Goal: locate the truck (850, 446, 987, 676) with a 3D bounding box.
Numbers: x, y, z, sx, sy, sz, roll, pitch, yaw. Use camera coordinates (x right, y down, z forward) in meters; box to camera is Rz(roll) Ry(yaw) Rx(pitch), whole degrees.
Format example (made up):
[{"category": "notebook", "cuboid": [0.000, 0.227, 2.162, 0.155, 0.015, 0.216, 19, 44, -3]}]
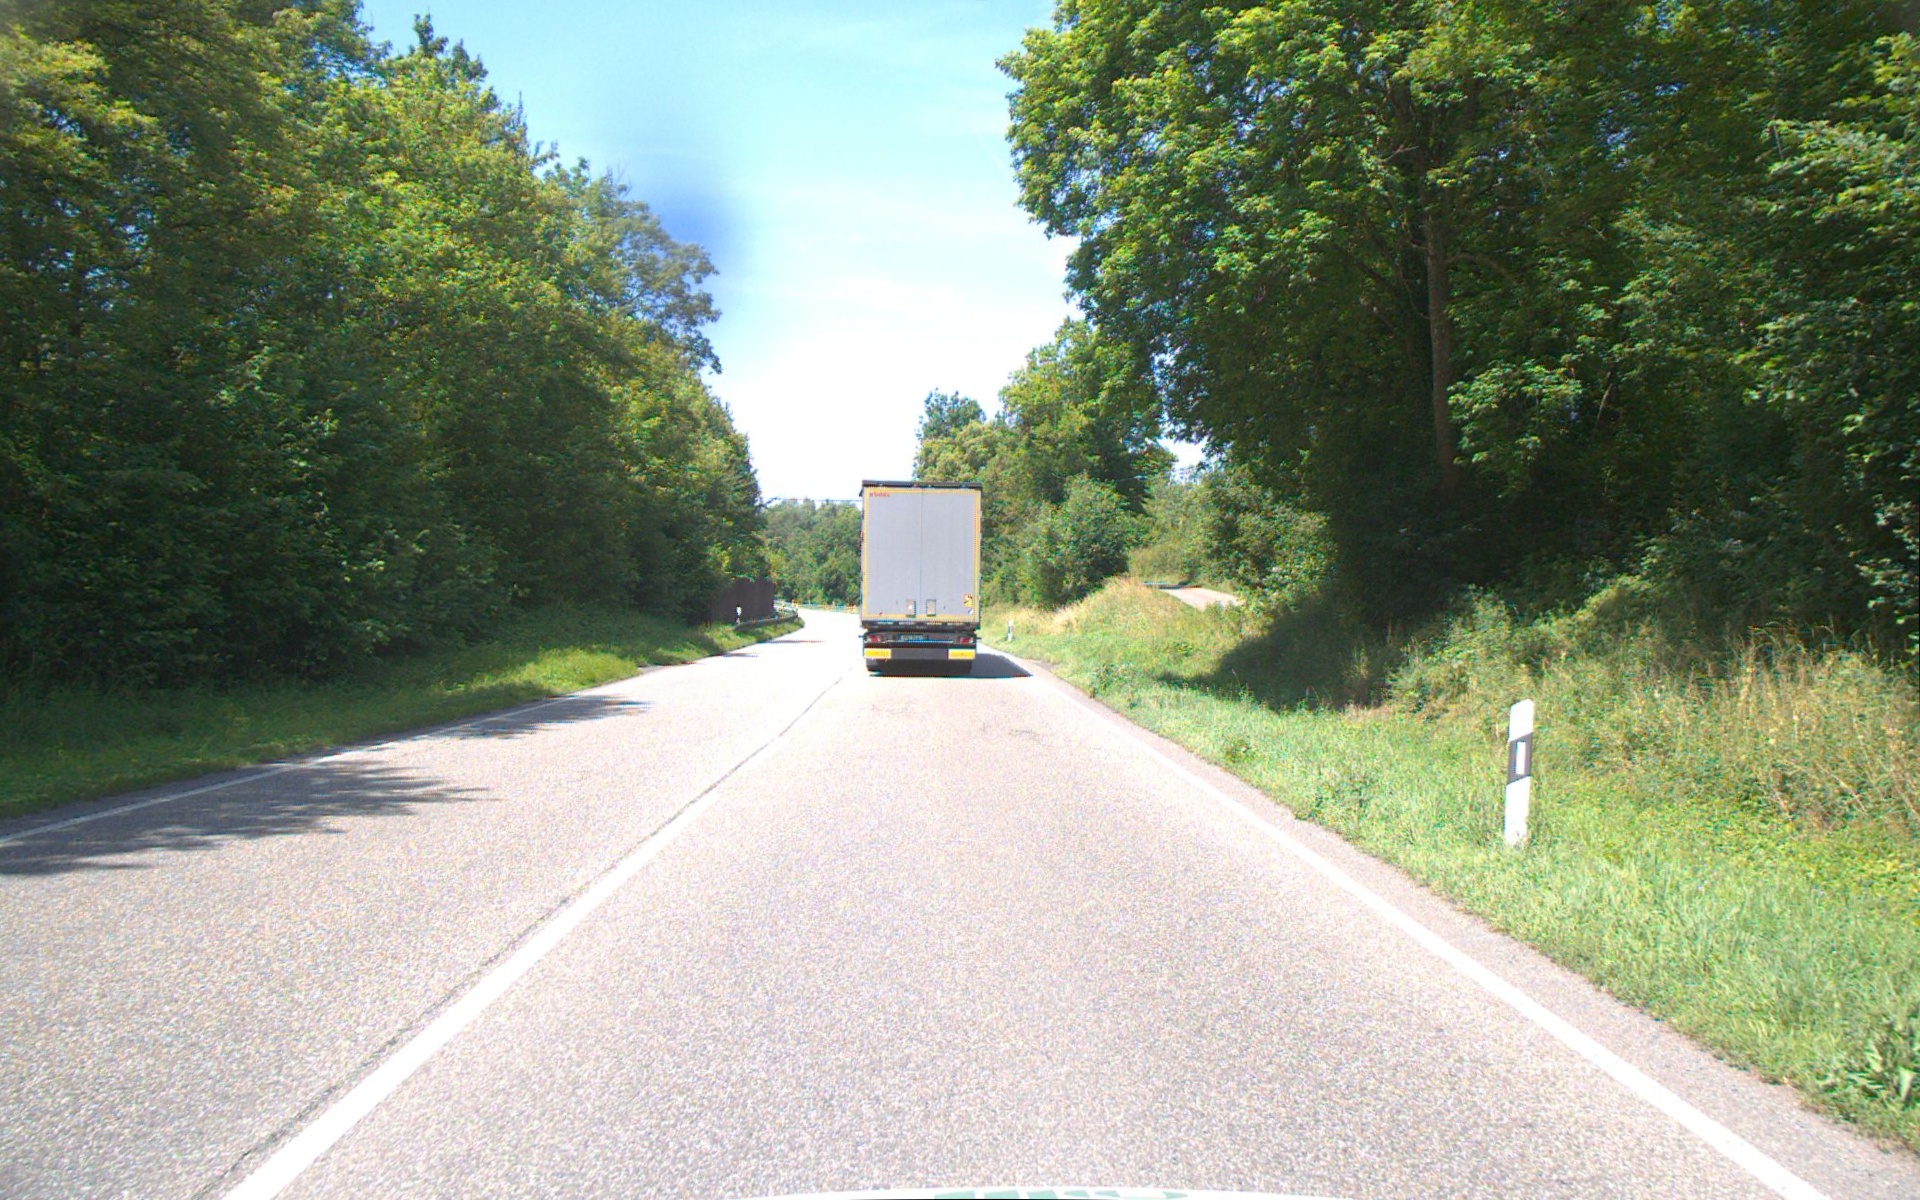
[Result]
[{"category": "truck", "cuboid": [-0.815, -0.737, 37.225, 2.764, 4.685, 6.665, 1, -1, 1]}]
